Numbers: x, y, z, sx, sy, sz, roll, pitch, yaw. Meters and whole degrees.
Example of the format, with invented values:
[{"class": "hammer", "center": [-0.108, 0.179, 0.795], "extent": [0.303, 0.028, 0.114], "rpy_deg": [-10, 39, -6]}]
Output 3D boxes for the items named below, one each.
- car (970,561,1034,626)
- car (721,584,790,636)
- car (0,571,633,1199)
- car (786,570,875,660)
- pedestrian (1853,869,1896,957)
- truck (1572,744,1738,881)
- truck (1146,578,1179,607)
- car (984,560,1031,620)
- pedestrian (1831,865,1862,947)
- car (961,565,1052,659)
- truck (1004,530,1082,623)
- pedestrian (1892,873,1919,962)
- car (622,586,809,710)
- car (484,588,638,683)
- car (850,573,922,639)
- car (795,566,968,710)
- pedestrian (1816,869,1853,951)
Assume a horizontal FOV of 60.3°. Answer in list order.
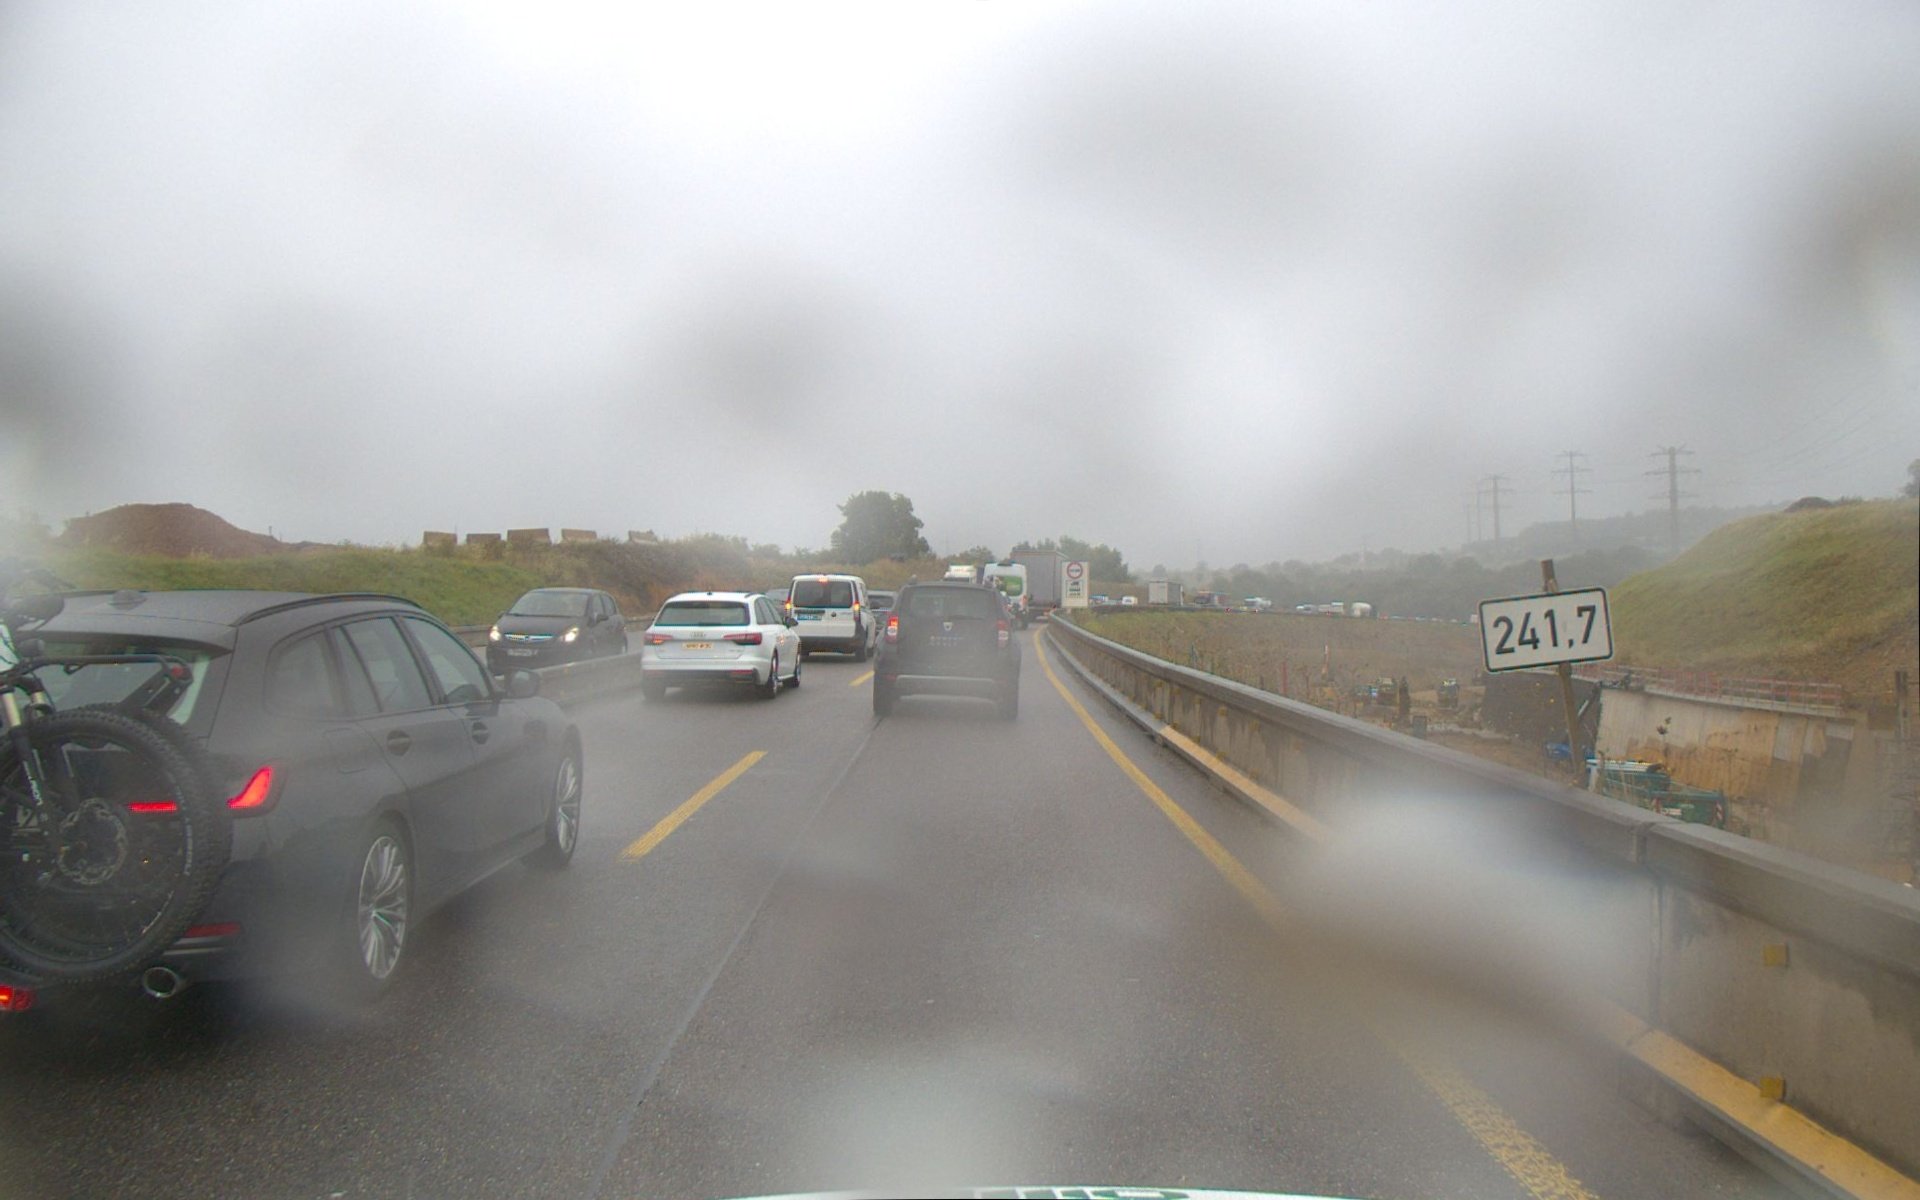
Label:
[{"class": "car", "center": [1.314, -0.165, 50.167], "extent": [1.788, 1.846, 4.001], "rpy_deg": [2, -1, 3]}, {"class": "car", "center": [-6.266, 0.279, 51.009], "extent": [1.632, 1.491, 3.732], "rpy_deg": [2, 0, 0]}, {"class": "car", "center": [-2.812, 0.677, 6.907], "extent": [1.699, 1.488, 5.630], "rpy_deg": [1, 2, 1]}, {"class": "car", "center": [-2.816, 0.331, 36.749], "extent": [1.790, 1.846, 3.998], "rpy_deg": [2, -1, -3]}, {"class": "pedestrian", "center": [22.436, 7.669, 40.587], "extent": [0.566, 1.978, 0.729], "rpy_deg": [2, -1, -27]}, {"class": "truck", "center": [23.761, 7.144, 57.074], "extent": [2.672, 3.552, 9.070], "rpy_deg": [1, -1, 6]}, {"class": "truck", "center": [26.993, -1.010, 219.777], "extent": [3.398, 3.780, 8.424], "rpy_deg": [0, 0, 13]}, {"class": "car", "center": [2.117, -0.398, 72.482], "extent": [1.788, 2.480, 4.160], "rpy_deg": [1, -1, 5]}, {"class": "pedestrian", "center": [22.593, 7.786, 42.153], "extent": [0.564, 1.902, 0.732], "rpy_deg": [1, -1, 37]}, {"class": "car", "center": [0.940, 0.266, 35.313], "extent": [1.789, 1.846, 4.000], "rpy_deg": [2, -1, 0]}, {"class": "truck", "center": [5.080, -1.270, 99.129], "extent": [3.468, 5.166, 10.449], "rpy_deg": [1, -1, 9]}, {"class": "pedestrian", "center": [23.013, 7.680, 40.009], "extent": [0.721, 1.978, 0.572], "rpy_deg": [1, -1, 39]}, {"class": "car", "center": [-3.286, 0.627, 22.985], "extent": [1.788, 1.525, 4.001], "rpy_deg": [2, -1, 3]}, {"class": "car", "center": [-6.805, 0.588, 28.623], "extent": [1.577, 1.468, 4.461], "rpy_deg": [2, -1, 0]}, {"class": "car", "center": [-2.162, 0.188, 49.139], "extent": [1.788, 1.846, 4.001], "rpy_deg": [2, -1, 2]}, {"class": "car", "center": [-0.908, 0.457, 21.217], "extent": [1.788, 1.619, 4.001], "rpy_deg": [2, -1, 3]}, {"class": "pedestrian", "center": [21.913, 7.760, 41.456], "extent": [0.561, 1.902, 0.736], "rpy_deg": [1, -1, 8]}]
